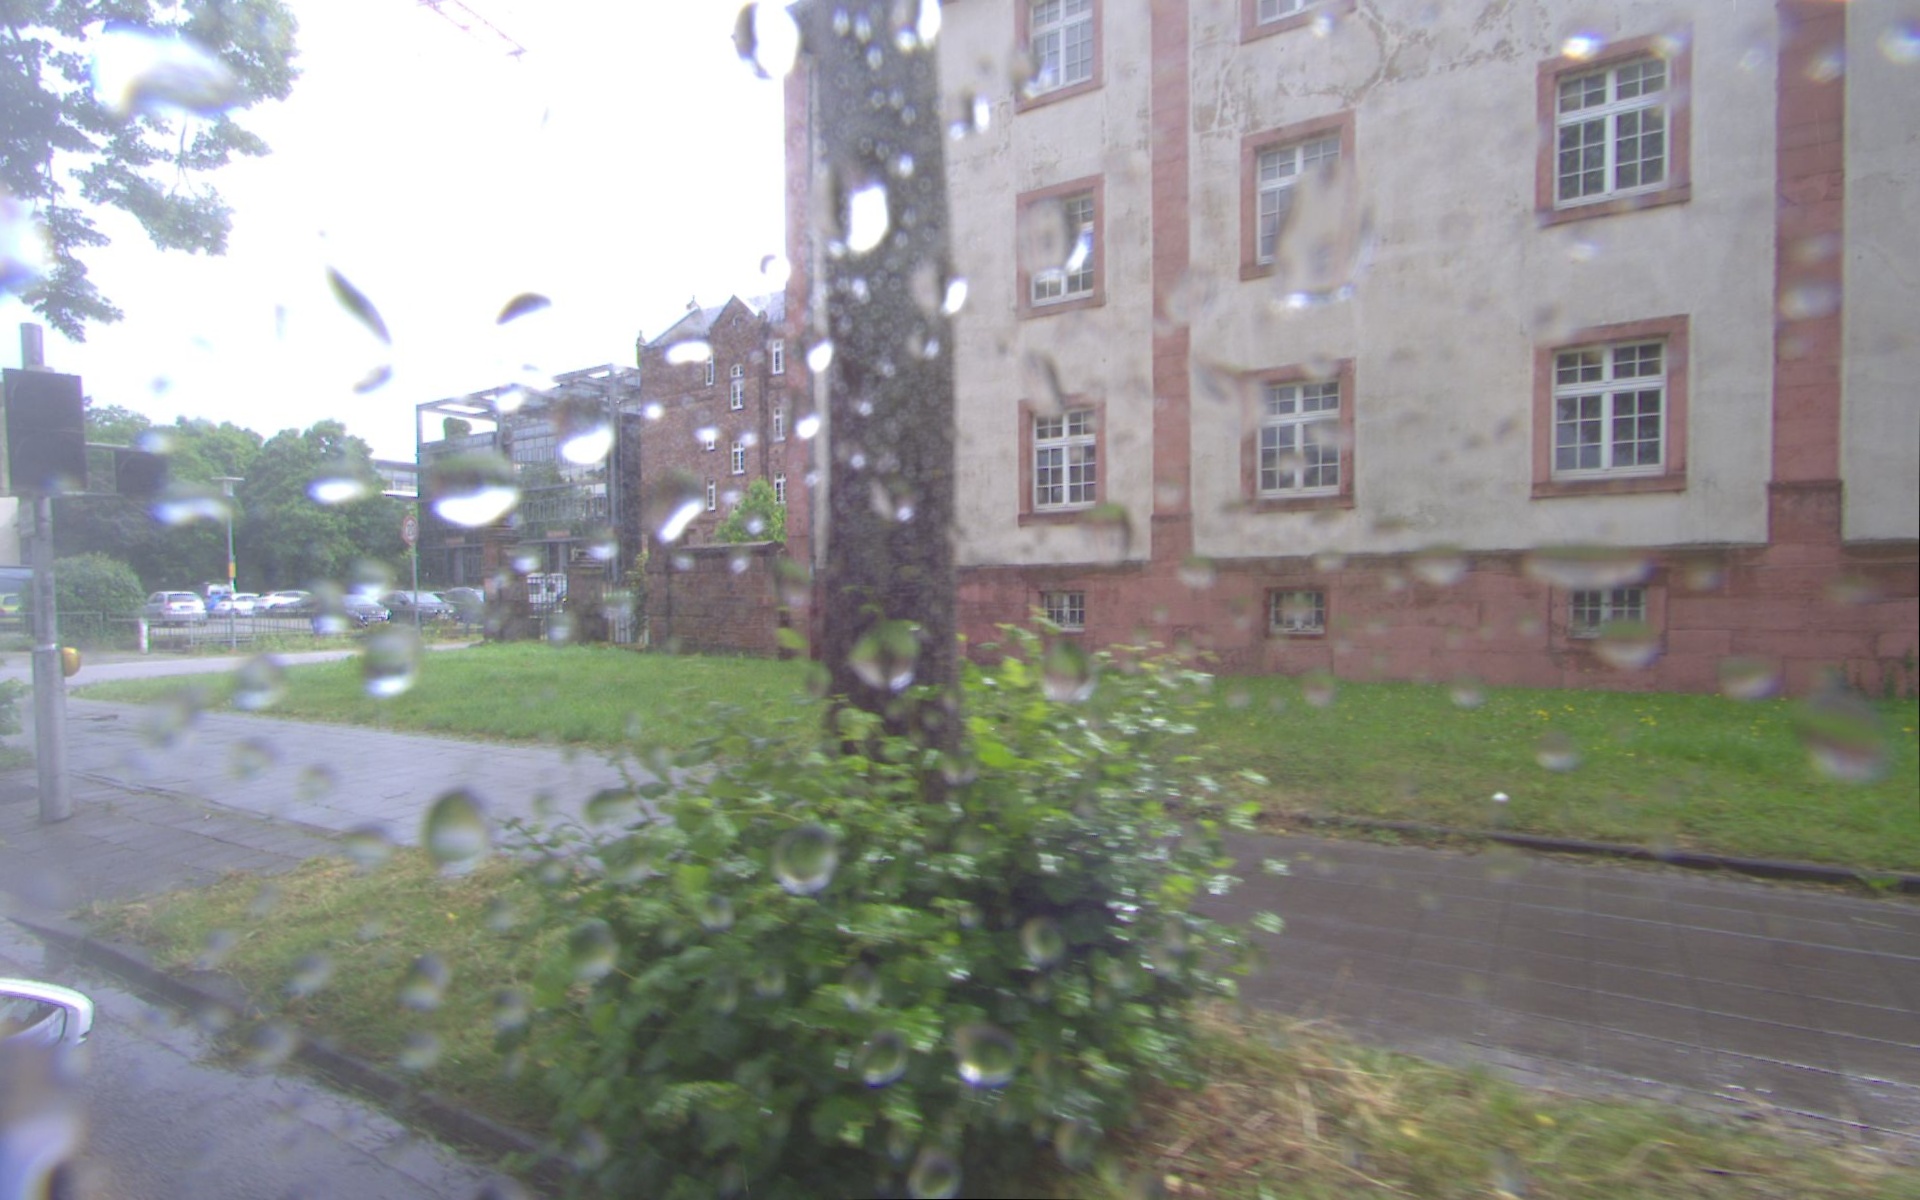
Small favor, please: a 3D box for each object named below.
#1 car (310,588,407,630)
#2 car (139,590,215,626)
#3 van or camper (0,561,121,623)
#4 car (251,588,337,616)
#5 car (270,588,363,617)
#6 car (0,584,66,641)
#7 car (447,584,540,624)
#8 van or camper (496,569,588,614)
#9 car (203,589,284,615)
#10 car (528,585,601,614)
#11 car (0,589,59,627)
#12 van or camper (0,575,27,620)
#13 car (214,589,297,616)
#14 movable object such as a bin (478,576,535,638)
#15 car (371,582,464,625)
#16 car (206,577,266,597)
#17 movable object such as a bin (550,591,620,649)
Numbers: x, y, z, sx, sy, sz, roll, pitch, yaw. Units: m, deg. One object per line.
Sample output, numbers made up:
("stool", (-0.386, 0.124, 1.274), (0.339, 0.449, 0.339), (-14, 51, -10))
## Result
("car", (-23.967, 0.324, 39.871), (4.367, 1.547, 1.821), (0, 2, 38))
("car", (-34.527, 0.315, 44.156), (3.668, 1.506, 1.643), (0, 2, 36))
("van or camper", (-39.927, -0.325, 43.466), (2.145, 2.588, 4.985), (-1, 0, 34))
("car", (-37.392, 0.087, 56.303), (1.617, 1.506, 3.654), (0, 1, 36))
("car", (-35.365, 0.135, 55.115), (1.649, 1.485, 3.962), (0, 1, 34))
("car", (-31.785, 0.390, 33.568), (4.181, 1.773, 1.798), (0, 2, 35))
("car", (-21.053, 0.154, 45.177), (4.363, 1.702, 1.847), (0, 2, 35))
("van or camper", (-25.238, -0.430, 60.641), (2.226, 2.518, 4.778), (-1, -2, 32))
("car", (-43.477, 0.108, 60.786), (1.617, 1.506, 3.654), (0, 1, 36))
("car", (-23.028, -0.050, 58.445), (1.649, 1.598, 3.656), (0, 1, 34))
("car", (-37.791, 0.296, 40.199), (3.369, 1.468, 1.606), (0, 2, 34))
("van or camper", (-48.758, -0.119, 48.590), (2.291, 2.160, 4.743), (1, 1, 36))
("car", (-41.693, 0.114, 59.320), (1.617, 1.506, 3.654), (0, 1, 36))
("movable object such as a bin", (-11.094, 0.156, 24.490), (1.081, 1.477, 0.797), (1, 3, 34))
("car", (-22.710, 0.133, 41.837), (4.368, 1.702, 1.845), (0, 2, 39))
("car", (-52.089, -0.950, 72.089), (1.489, 1.416, 3.214), (0, 1, 36))
("movable object such as a bin", (-9.962, 0.500, 26.615), (1.371, 1.477, 1.102), (1, 3, 34))
